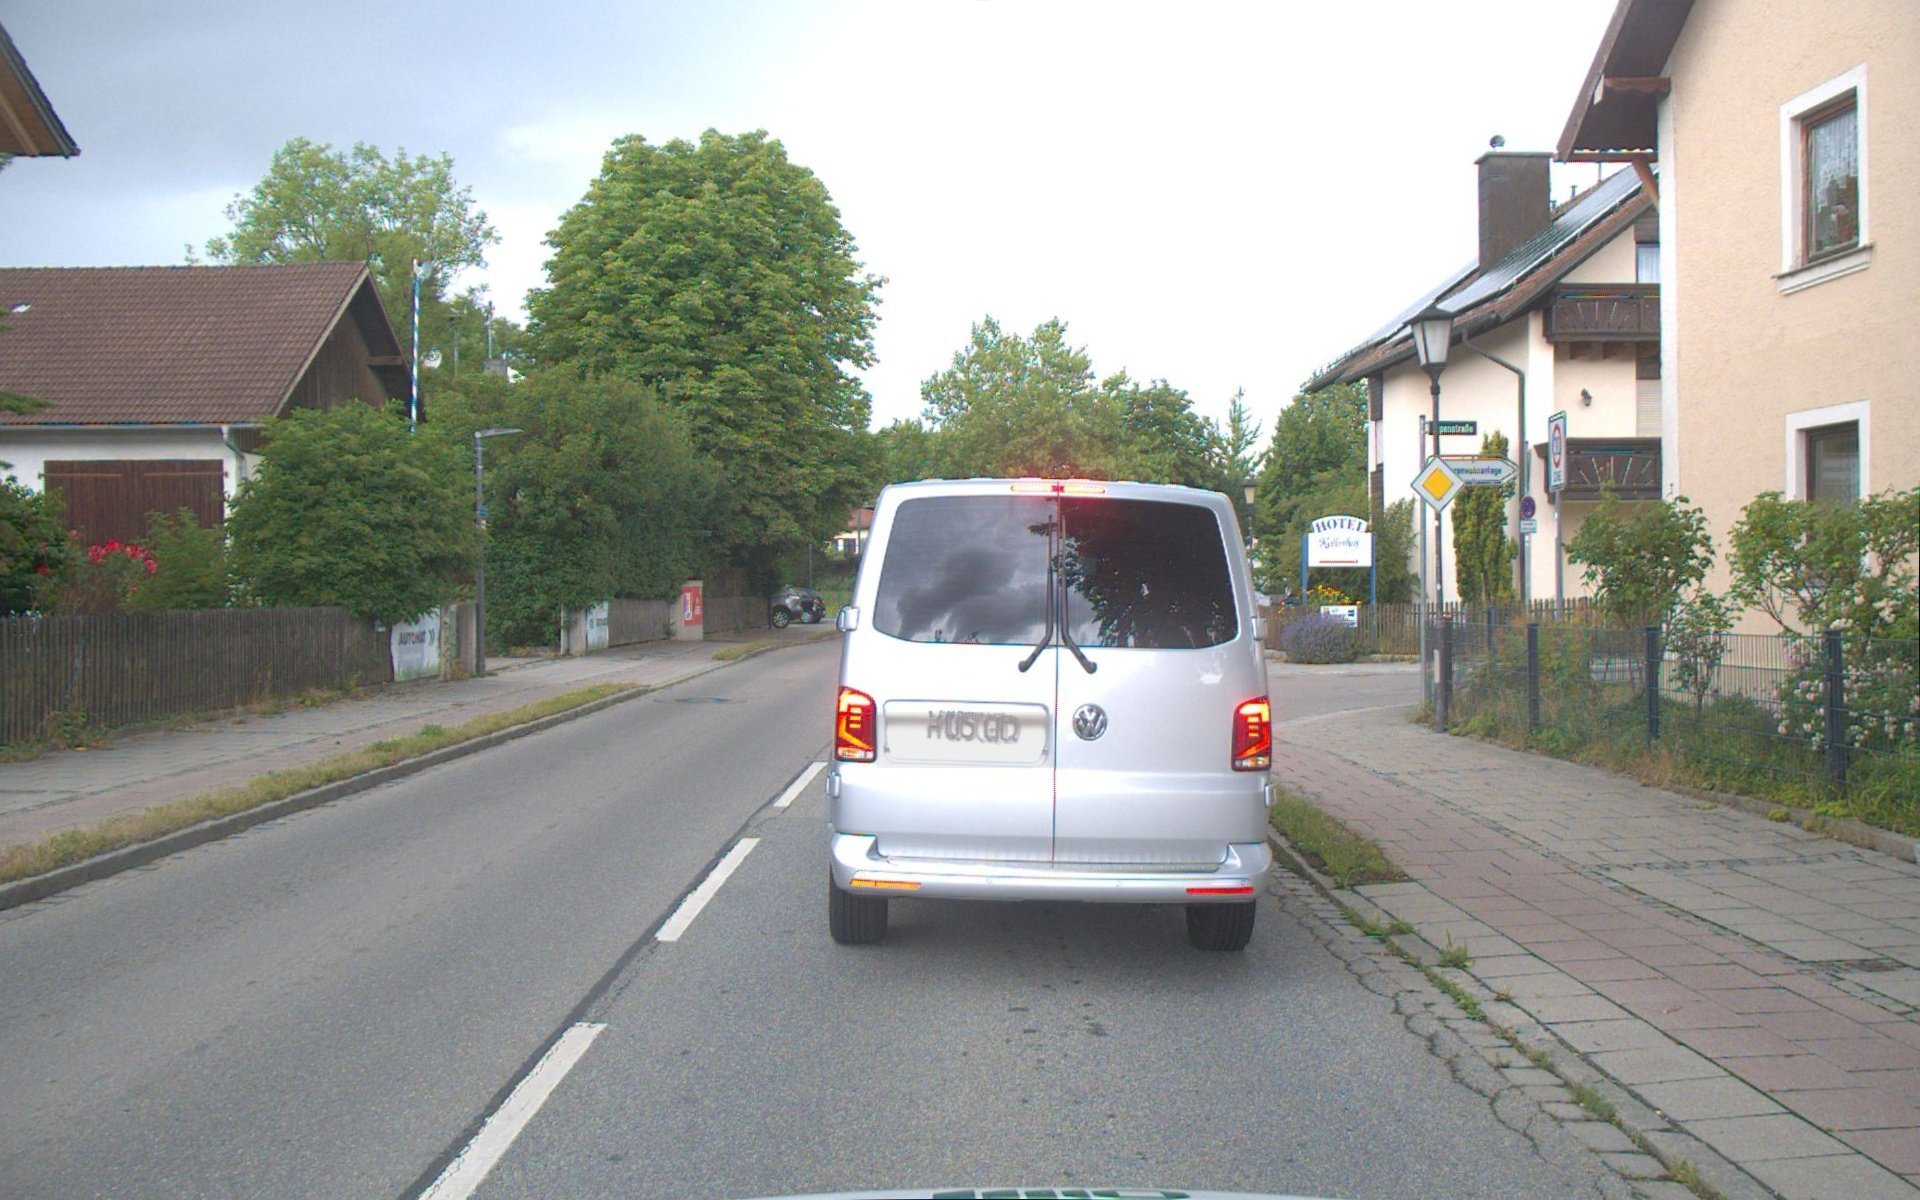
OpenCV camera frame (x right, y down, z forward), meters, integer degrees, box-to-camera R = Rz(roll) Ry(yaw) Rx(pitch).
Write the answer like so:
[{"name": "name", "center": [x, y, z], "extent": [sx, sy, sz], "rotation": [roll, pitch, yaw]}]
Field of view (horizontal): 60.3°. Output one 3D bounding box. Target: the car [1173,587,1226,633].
[{"name": "car", "center": [9.580, 0.379, 66.000], "extent": [1.841, 1.779, 4.084], "rotation": [0, 0, 12]}]

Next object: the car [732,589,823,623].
[{"name": "car", "center": [-7.652, 0.246, 69.131], "extent": [3.683, 1.369, 1.579], "rotation": [0, 0, -11]}]

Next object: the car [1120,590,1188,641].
[{"name": "car", "center": [6.184, 0.464, 52.487], "extent": [1.841, 1.562, 3.924], "rotation": [0, 0, 11]}]

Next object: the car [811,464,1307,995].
[{"name": "car", "center": [0.373, 0.473, 8.143], "extent": [1.843, 1.974, 3.920], "rotation": [0, 0, 0]}]

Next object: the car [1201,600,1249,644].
[{"name": "car", "center": [11.703, 0.943, 72.854], "extent": [1.841, 1.857, 3.924], "rotation": [0, 0, 13]}]

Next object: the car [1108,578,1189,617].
[{"name": "car", "center": [9.198, -0.147, 80.519], "extent": [3.889, 1.857, 1.858], "rotation": [-1, 0, -43]}]

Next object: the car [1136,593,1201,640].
[{"name": "car", "center": [7.255, 0.553, 57.367], "extent": [1.841, 1.562, 3.924], "rotation": [0, 0, 13]}]

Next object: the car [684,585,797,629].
[{"name": "car", "center": [-7.794, 0.240, 58.835], "extent": [3.913, 1.512, 1.996], "rotation": [0, 0, -9]}]
